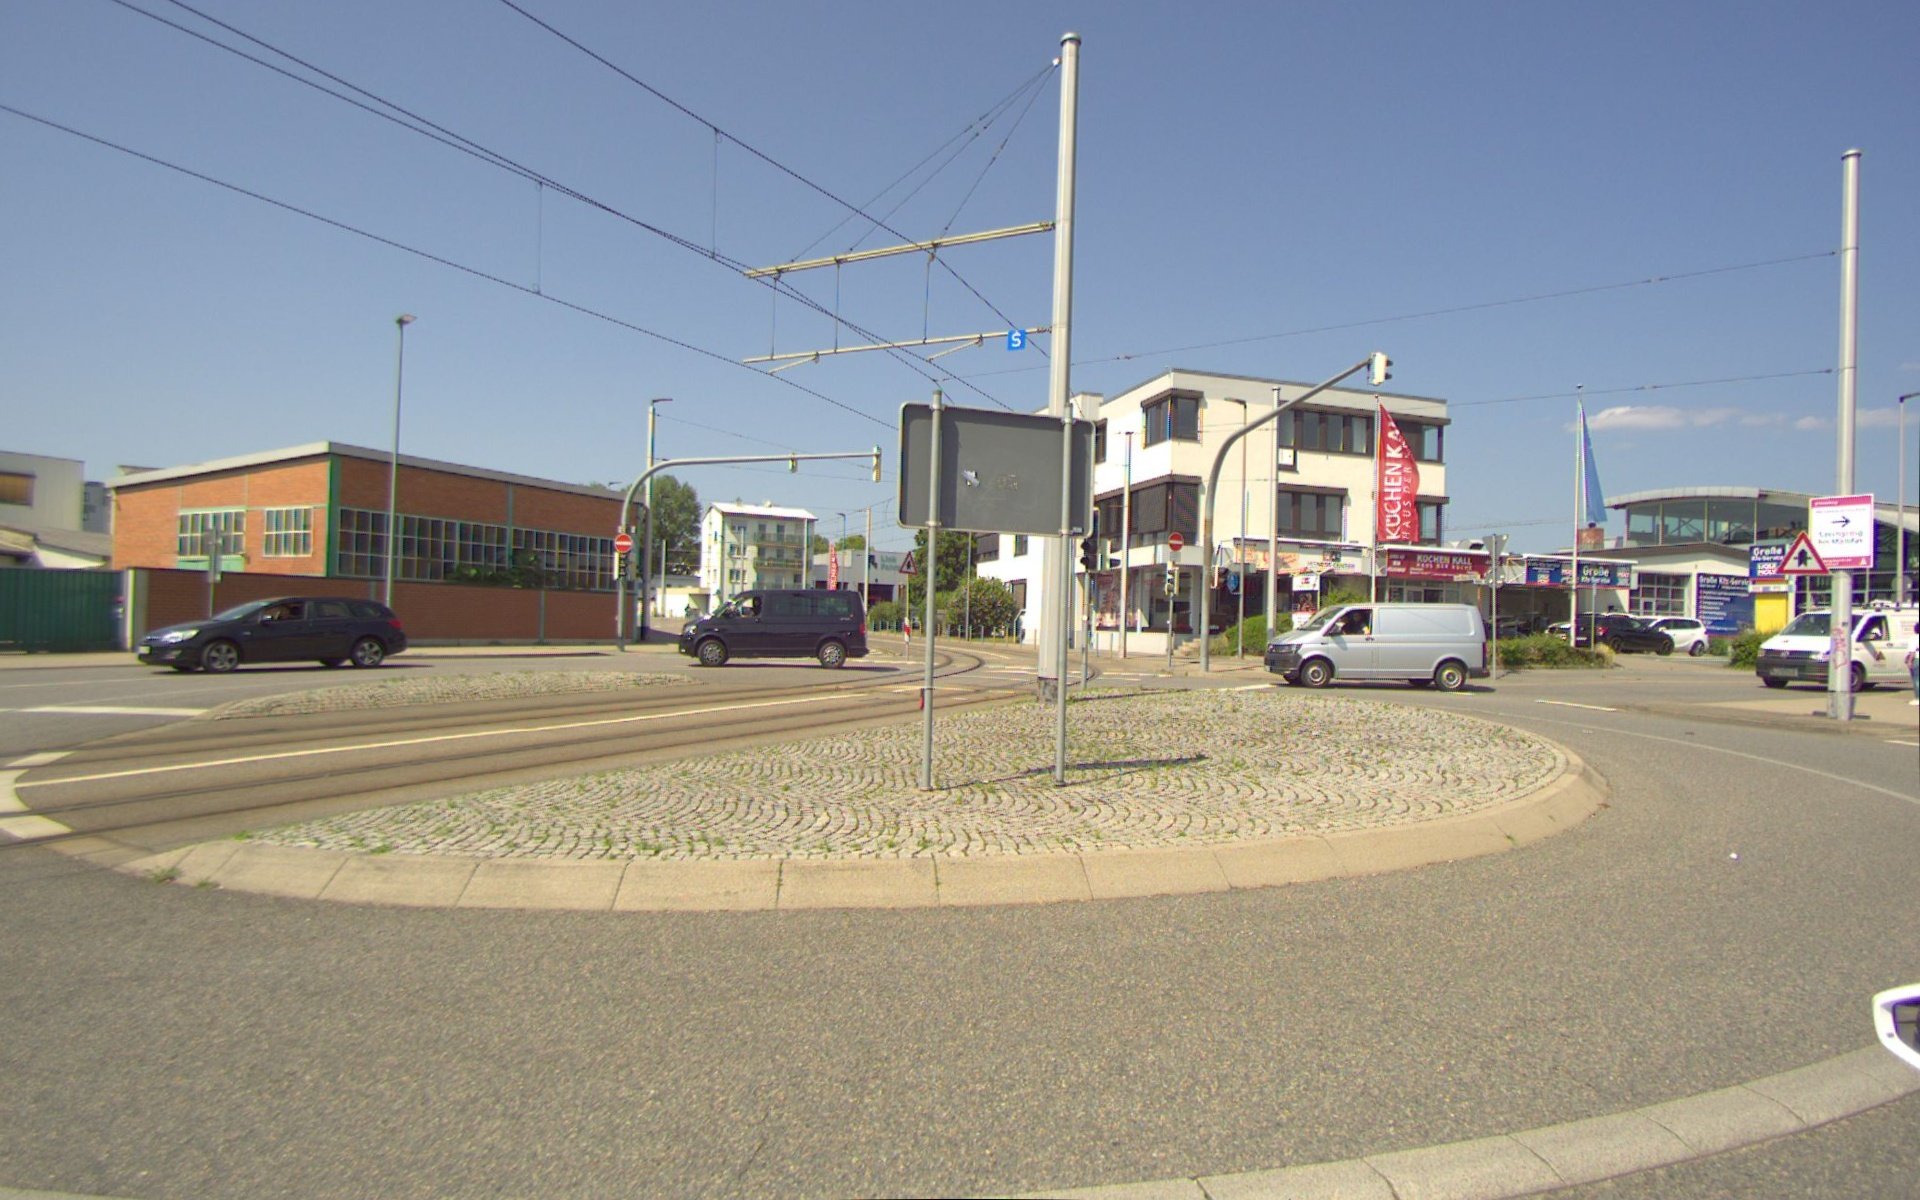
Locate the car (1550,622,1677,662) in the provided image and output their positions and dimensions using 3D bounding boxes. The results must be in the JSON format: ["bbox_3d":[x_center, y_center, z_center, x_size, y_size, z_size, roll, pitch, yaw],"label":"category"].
[{"bbox_3d":[25.427,1.628,39.091,4.251,1.446,2.024,1,-1,-20],"label":"car"}]

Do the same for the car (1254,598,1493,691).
[{"bbox_3d":[9.480,0.996,23.313,4.733,1.961,1.934,1,0,2],"label":"car"}]

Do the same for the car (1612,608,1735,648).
[{"bbox_3d":[30.561,1.240,43.050,4.853,1.609,1.879,2,-3,-20],"label":"car"}]

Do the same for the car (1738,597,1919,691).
[{"bbox_3d":[21.834,1.036,24.486,4.852,2.143,2.021,1,0,-16],"label":"car"}]

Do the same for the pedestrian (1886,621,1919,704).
[{"bbox_3d":[19.625,1.281,20.624,0.748,1.678,0.671,1,0,30],"label":"pedestrian"}]

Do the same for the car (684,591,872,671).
[{"bbox_3d":[-4.582,0.778,25.784,4.553,1.936,2.095,1,0,-7],"label":"car"}]

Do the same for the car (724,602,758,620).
[{"bbox_3d":[-24.006,1.274,110.239,1.985,1.884,3.952,2,-3,-41],"label":"car"}]

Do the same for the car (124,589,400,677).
[{"bbox_3d":[-14.056,0.605,20.445,1.937,1.577,4.228,1,0,35],"label":"car"}]
